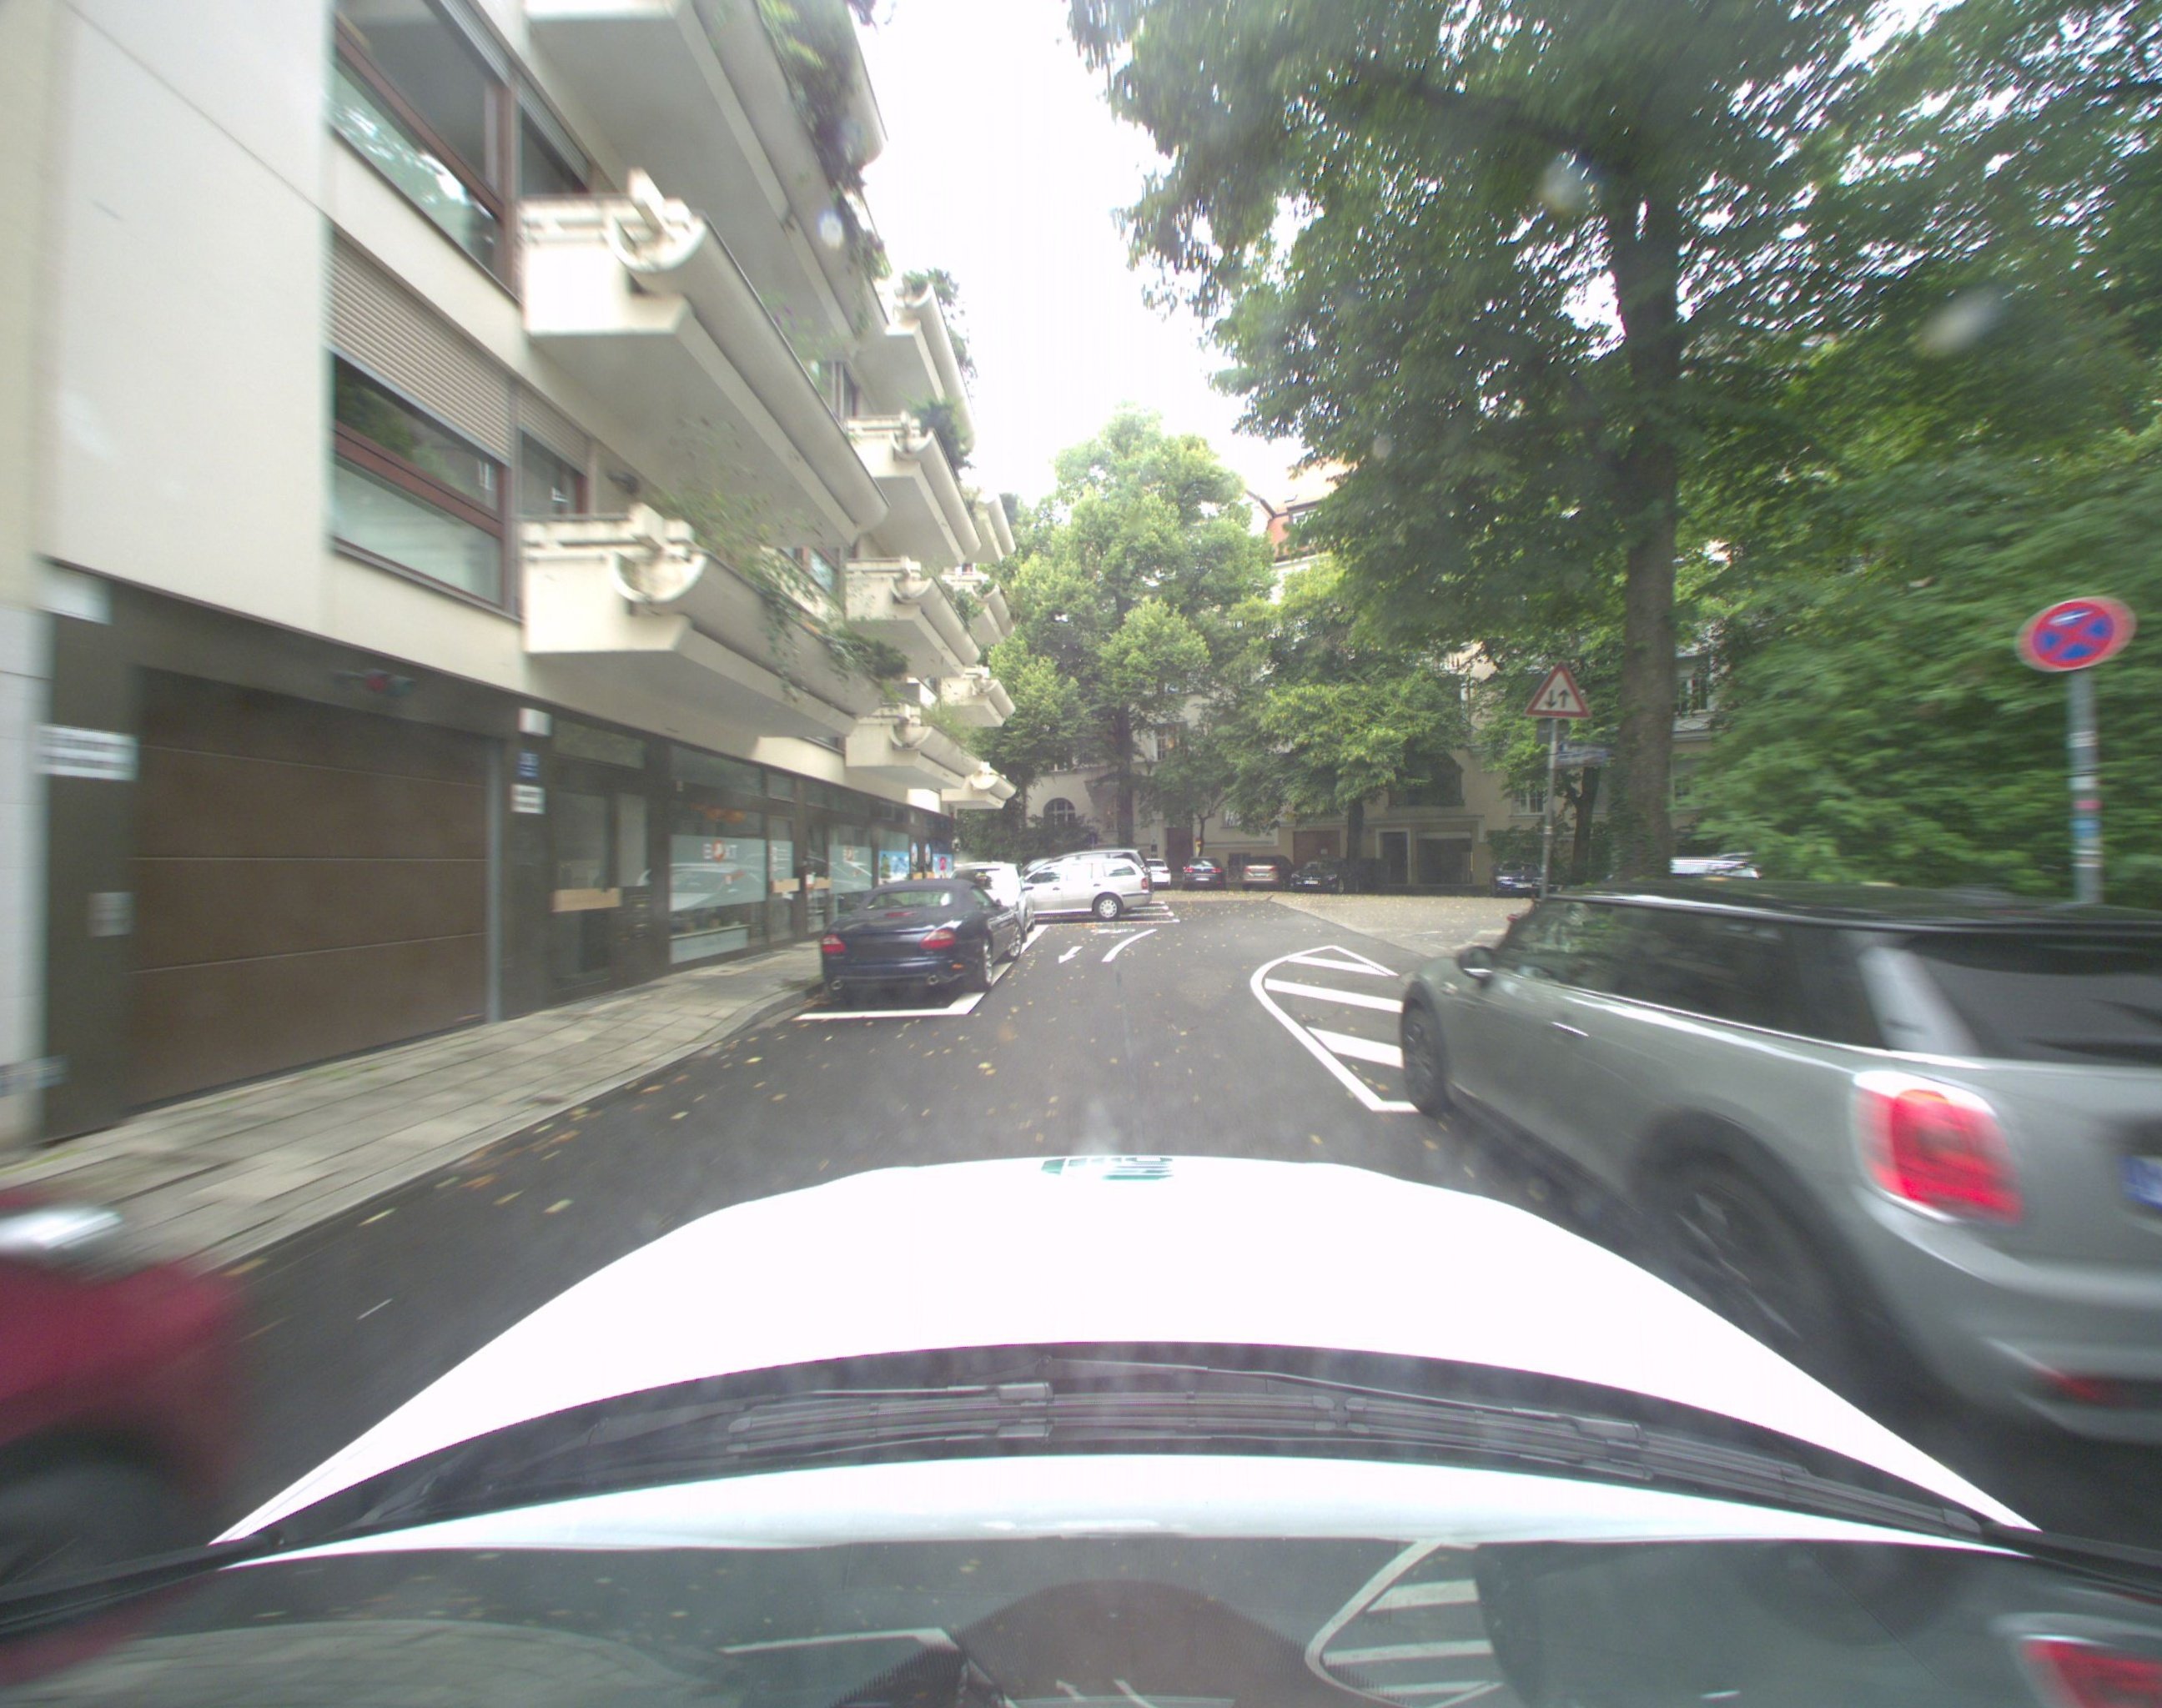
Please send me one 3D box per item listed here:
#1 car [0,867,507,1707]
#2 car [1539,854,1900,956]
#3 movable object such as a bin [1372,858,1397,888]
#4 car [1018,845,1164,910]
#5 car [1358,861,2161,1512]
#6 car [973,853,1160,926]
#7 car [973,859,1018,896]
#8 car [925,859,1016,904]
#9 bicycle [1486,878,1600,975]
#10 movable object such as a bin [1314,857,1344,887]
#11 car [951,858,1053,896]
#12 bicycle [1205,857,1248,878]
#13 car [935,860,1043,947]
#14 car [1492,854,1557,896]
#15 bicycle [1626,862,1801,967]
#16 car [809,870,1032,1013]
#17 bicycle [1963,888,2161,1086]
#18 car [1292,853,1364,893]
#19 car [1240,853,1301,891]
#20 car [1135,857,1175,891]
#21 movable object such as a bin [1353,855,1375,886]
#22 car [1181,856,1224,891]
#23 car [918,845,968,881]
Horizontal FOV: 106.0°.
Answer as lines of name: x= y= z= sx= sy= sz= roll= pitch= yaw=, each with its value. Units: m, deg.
car: x=-2.555 y=0.788 z=0.579 sx=1.614 sy=1.496 sz=3.709 roll=-1 pitch=0 yaw=1
car: x=10.157 y=0.715 z=13.578 sx=1.952 sy=1.377 sz=4.721 roll=0 pitch=0 yaw=-8
movable object such as a bin: x=13.563 y=0.828 z=36.418 sx=0.854 sy=1.305 sz=1.441 roll=2 pitch=1 yaw=27
car: x=0.292 y=0.687 z=24.796 sx=4.207 sy=1.684 sz=1.902 roll=-3 pitch=0 yaw=-1
car: x=2.777 y=0.773 z=3.838 sx=1.736 sy=1.441 sz=4.003 roll=-1 pitch=0 yaw=3
car: x=-0.306 y=0.820 z=19.552 sx=4.213 sy=1.455 sz=1.721 roll=-3 pitch=0 yaw=1
car: x=-3.968 y=1.064 z=38.368 sx=1.694 sy=1.601 sz=3.999 roll=0 pitch=0 yaw=0
car: x=-4.272 y=1.024 z=31.397 sx=3.297 sy=1.631 sz=1.501 roll=0 pitch=-1 yaw=-18
bicycle: x=6.077 y=0.909 z=10.672 sx=1.780 sy=1.137 sz=0.549 roll=0 pitch=-1 yaw=-34
movable object such as a bin: x=11.513 y=0.832 z=37.761 sx=1.139 sy=1.348 sz=1.163 roll=0 pitch=0 yaw=27
car: x=-2.868 y=0.803 z=29.413 sx=3.455 sy=1.284 sz=1.523 roll=0 pitch=0 yaw=-15
bicycle: x=7.837 y=0.734 z=43.949 sx=2.207 sy=1.115 sz=0.580 roll=0 pitch=0 yaw=30
car: x=-1.659 y=0.857 z=15.816 sx=1.555 sy=1.421 sz=3.833 roll=-2 pitch=0 yaw=1
car: x=15.751 y=0.756 z=29.097 sx=1.822 sy=1.383 sz=4.367 roll=-1 pitch=-2 yaw=26
bicycle: x=6.761 y=0.620 z=8.715 sx=1.631 sy=1.056 sz=0.603 roll=0 pitch=0 yaw=-14
car: x=-1.748 y=0.918 z=10.453 sx=1.790 sy=1.278 sz=4.618 roll=-2 pitch=0 yaw=1
bicycle: x=6.182 y=0.750 z=4.590 sx=1.614 sy=1.056 sz=0.454 roll=0 pitch=0 yaw=44
car: x=9.963 y=0.793 z=32.584 sx=1.687 sy=1.467 sz=4.314 roll=1 pitch=-2 yaw=32
car: x=8.195 y=0.737 z=34.962 sx=1.822 sy=1.530 sz=4.047 roll=0 pitch=0 yaw=24
car: x=3.307 y=0.853 z=36.725 sx=1.711 sy=1.431 sz=4.005 roll=0 pitch=0 yaw=4
movable object such as a bin: x=12.926 y=0.741 z=37.193 sx=0.706 sy=1.348 sz=1.382 roll=0 pitch=0 yaw=29
car: x=5.314 y=0.797 z=35.609 sx=1.781 sy=1.431 sz=4.010 roll=0 pitch=0 yaw=9
car: x=-6.549 y=0.413 z=38.985 sx=1.694 sy=1.601 sz=3.999 roll=0 pitch=0 yaw=0
